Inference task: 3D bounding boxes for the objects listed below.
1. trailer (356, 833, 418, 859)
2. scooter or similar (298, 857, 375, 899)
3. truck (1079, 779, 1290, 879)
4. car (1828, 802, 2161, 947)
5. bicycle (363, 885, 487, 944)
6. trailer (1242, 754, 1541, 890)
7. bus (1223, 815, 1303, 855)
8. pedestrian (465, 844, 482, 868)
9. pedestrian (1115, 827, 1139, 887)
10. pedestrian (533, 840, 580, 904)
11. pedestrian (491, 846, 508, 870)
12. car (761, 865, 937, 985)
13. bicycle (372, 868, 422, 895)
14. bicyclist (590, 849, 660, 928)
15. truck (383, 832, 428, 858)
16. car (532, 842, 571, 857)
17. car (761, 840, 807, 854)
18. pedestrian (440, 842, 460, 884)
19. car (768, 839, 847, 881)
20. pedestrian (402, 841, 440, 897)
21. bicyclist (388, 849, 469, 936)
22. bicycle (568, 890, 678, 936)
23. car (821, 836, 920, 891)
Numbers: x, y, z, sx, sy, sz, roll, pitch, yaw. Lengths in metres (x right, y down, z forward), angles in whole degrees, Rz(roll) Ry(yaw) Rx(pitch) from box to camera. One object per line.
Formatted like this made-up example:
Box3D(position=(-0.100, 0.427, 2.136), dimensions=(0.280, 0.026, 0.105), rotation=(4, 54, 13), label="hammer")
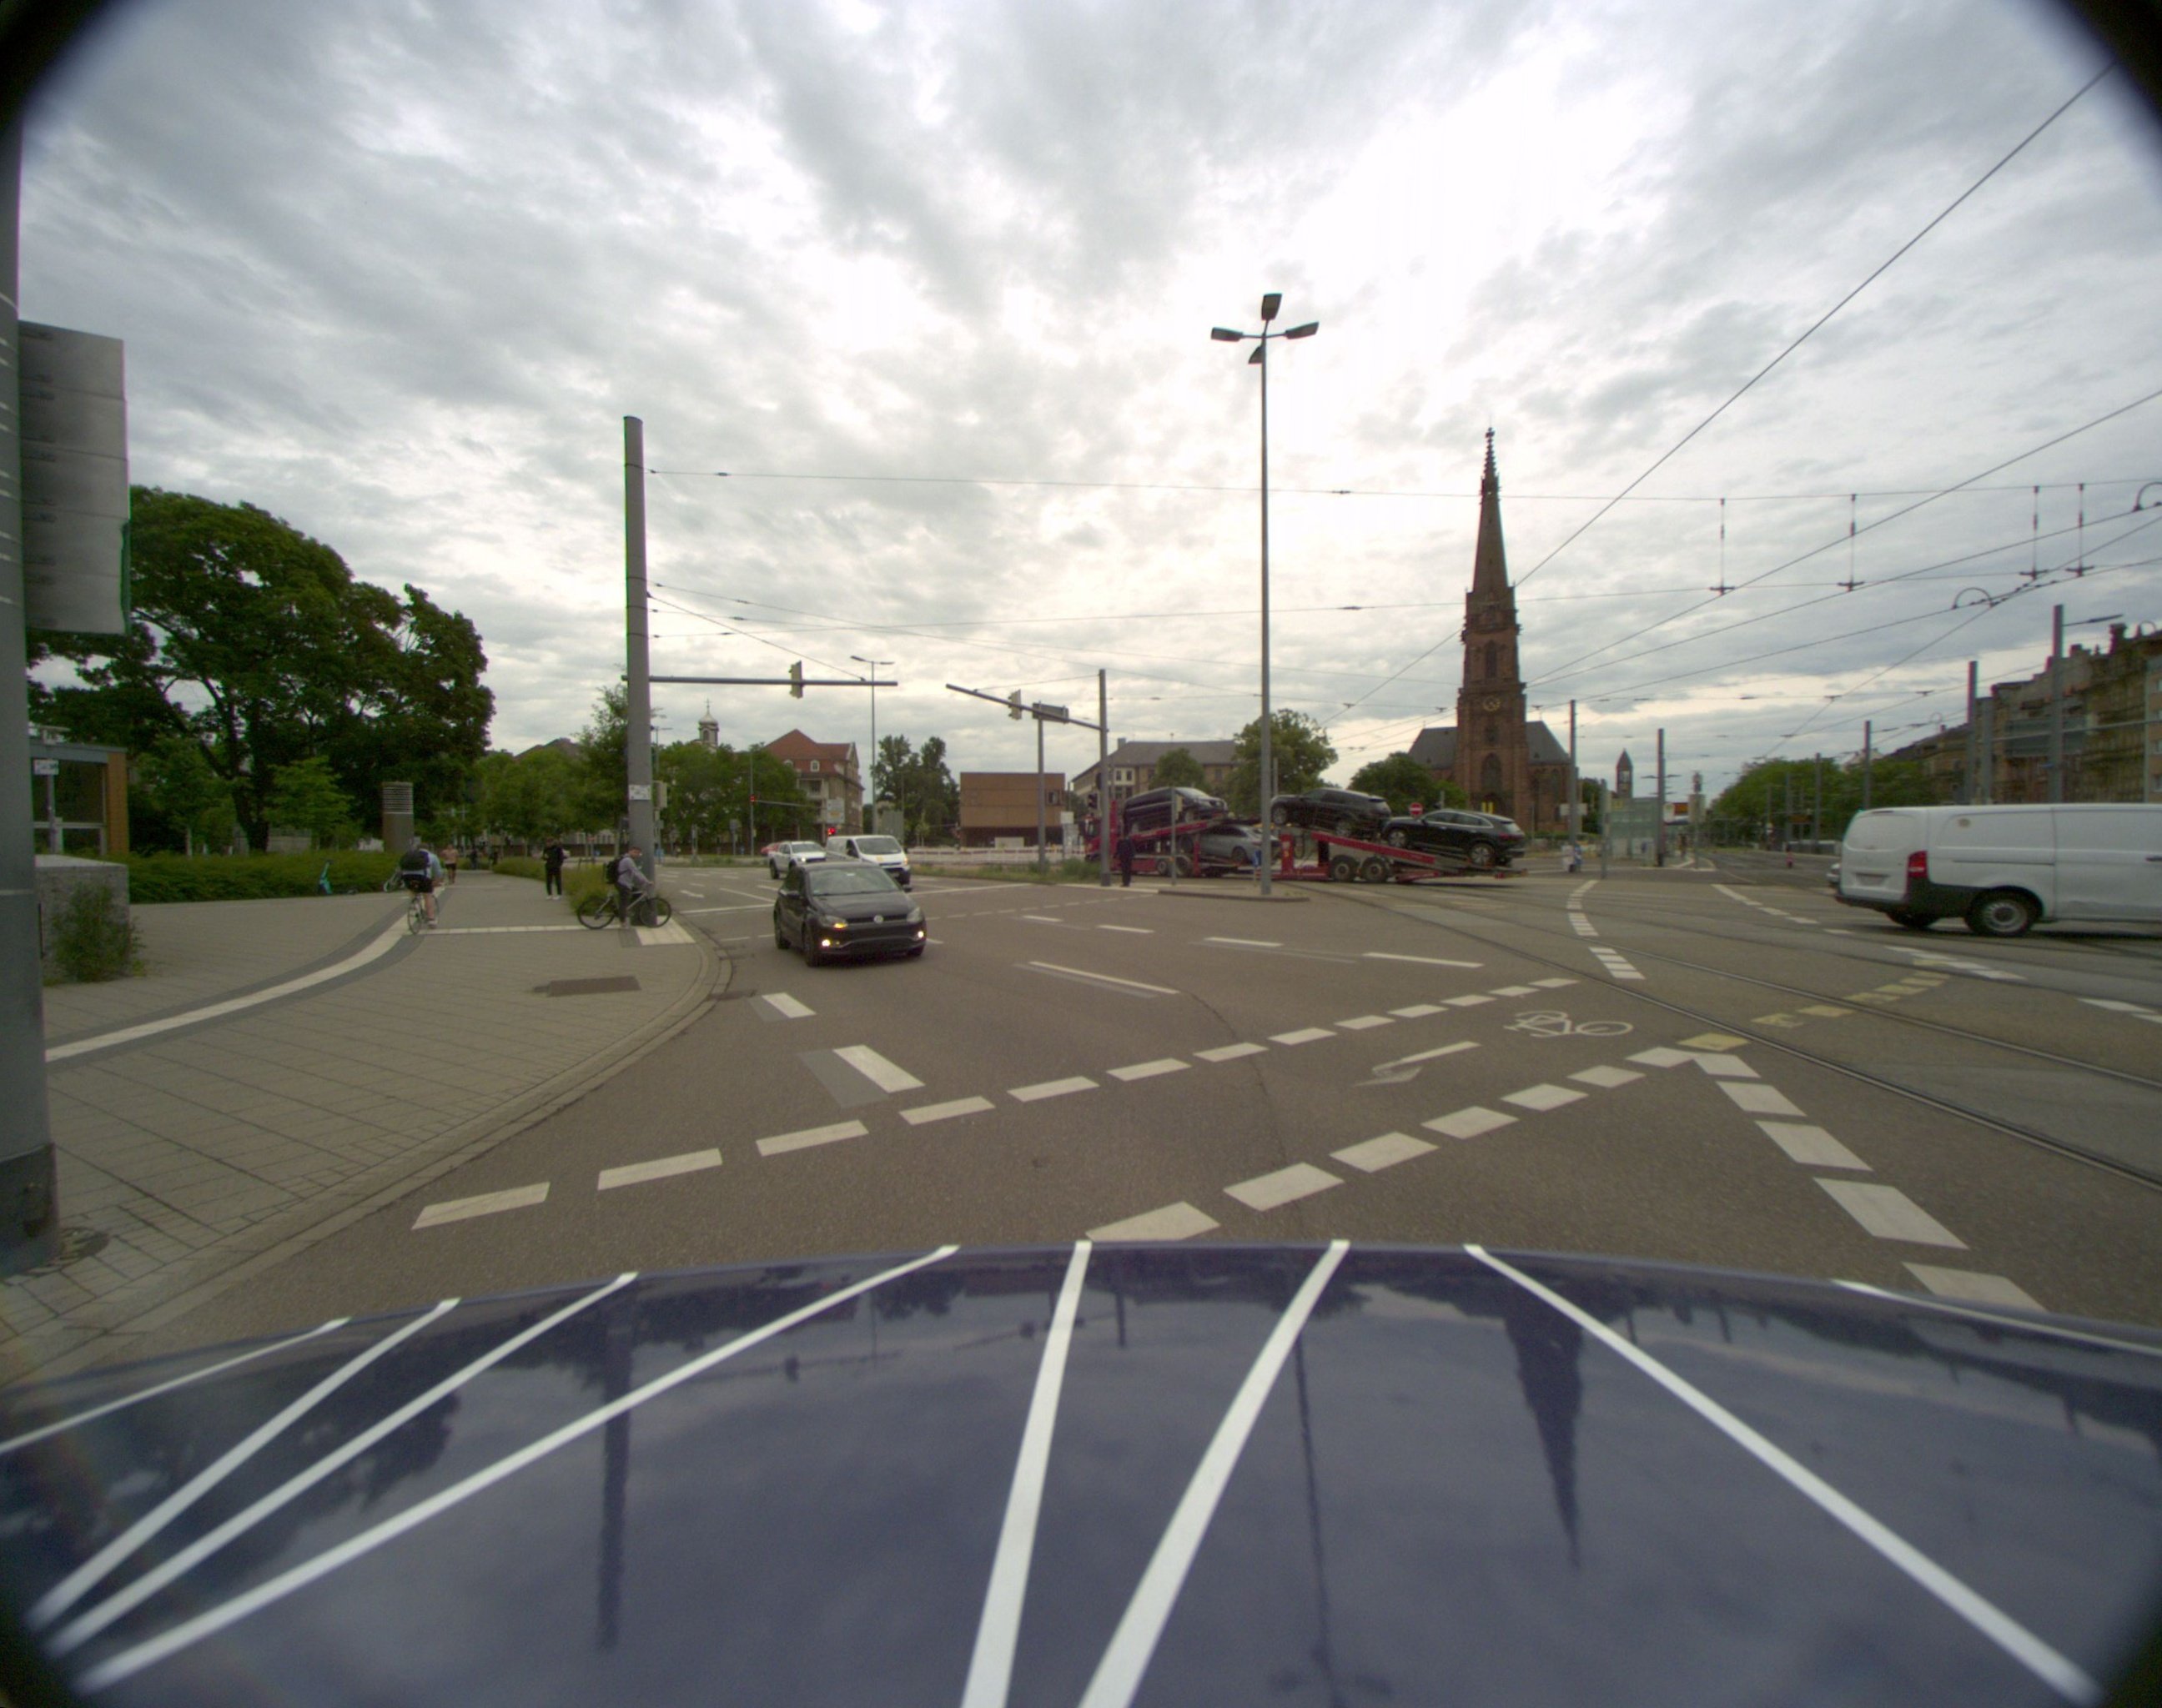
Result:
Box3D(position=(-113.696, -1.302, 124.384), dimensions=(13.773, 3.991, 2.952), rotation=(0, 2, 28), label="trailer")
Box3D(position=(-24.671, 0.778, 25.215), dimensions=(0.693, 1.283, 1.607), rotation=(0, 2, 23), label="scooter or similar")
Box3D(position=(4.277, -1.087, 34.643), dimensions=(3.020, 3.898, 10.427), rotation=(-3, 2, -37), label="truck")
Box3D(position=(14.348, 0.234, 10.707), dimensions=(5.077, 1.872, 1.925), rotation=(-1, 3, 20), label="car")
Box3D(position=(-12.126, 1.088, 14.130), dimensions=(0.672, 0.927, 1.859), rotation=(2, 0, 0), label="bicycle")
Box3D(position=(10.393, -1.025, 26.756), dimensions=(3.002, 3.951, 9.527), rotation=(-3, 3, -37), label="trailer")
Box3D(position=(15.424, -1.679, 65.734), dimensions=(2.864, 3.060, 12.009), rotation=(-2, 2, -6), label="bus")
Box3D(position=(-46.343, 0.186, 57.970), dimensions=(0.597, 1.789, 0.722), rotation=(2, 0, 8), label="pedestrian")
Box3D(position=(1.521, 0.098, 25.212), dimensions=(0.780, 1.932, 0.981), rotation=(0, 1, 2), label="pedestrian")
Box3D(position=(-16.082, 0.523, 23.311), dimensions=(0.722, 1.917, 0.875), rotation=(0, 2, 21), label="pedestrian")
Box3D(position=(-42.756, 0.307, 55.844), dimensions=(0.597, 1.789, 0.722), rotation=(2, 0, 8), label="pedestrian")
Box3D(position=(-3.776, 0.943, 11.871), dimensions=(1.659, 1.405, 3.990), rotation=(-1, 1, -32), label="car")
Box3D(position=(-24.250, 0.959, 26.974), dimensions=(0.558, 0.843, 2.069), rotation=(-1, 1, -20), label="bicycle")
Box3D(position=(-9.320, 0.673, 15.531), dimensions=(1.103, 1.512, 0.758), rotation=(-2, 2, -39), label="bicyclist")
Box3D(position=(-107.740, -1.364, 121.194), dimensions=(7.142, 4.002, 2.918), rotation=(0, 2, 29), label="truck")
Box3D(position=(-66.633, -0.536, 95.673), dimensions=(3.991, 1.718, 2.002), rotation=(-1, 2, 20), label="car")
Box3D(position=(-36.800, -0.876, 94.348), dimensions=(1.908, 1.707, 5.252), rotation=(0, 1, 30), label="car")
Box3D(position=(-27.440, 0.409, 33.036), dimensions=(0.632, 1.789, 0.596), rotation=(2, 0, -39), label="pedestrian")
Box3D(position=(-13.093, 0.227, 36.148), dimensions=(2.094, 1.838, 4.738), rotation=(-2, 1, -39), label="car")
Box3D(position=(-21.781, 0.489, 25.079), dimensions=(0.836, 1.795, 0.705), rotation=(0, 2, 35), label="pedestrian")
Box3D(position=(-12.121, 0.702, 14.140), dimensions=(0.692, 1.551, 0.926), rotation=(1, 0, -1), label="bicyclist")
Box3D(position=(-9.339, 1.179, 15.541), dimensions=(1.830, 0.835, 0.765), rotation=(1, 0, -40), label="bicycle")
Box3D(position=(-8.058, 0.299, 28.797), dimensions=(2.004, 1.931, 4.511), rotation=(-2, 1, -38), label="car")
